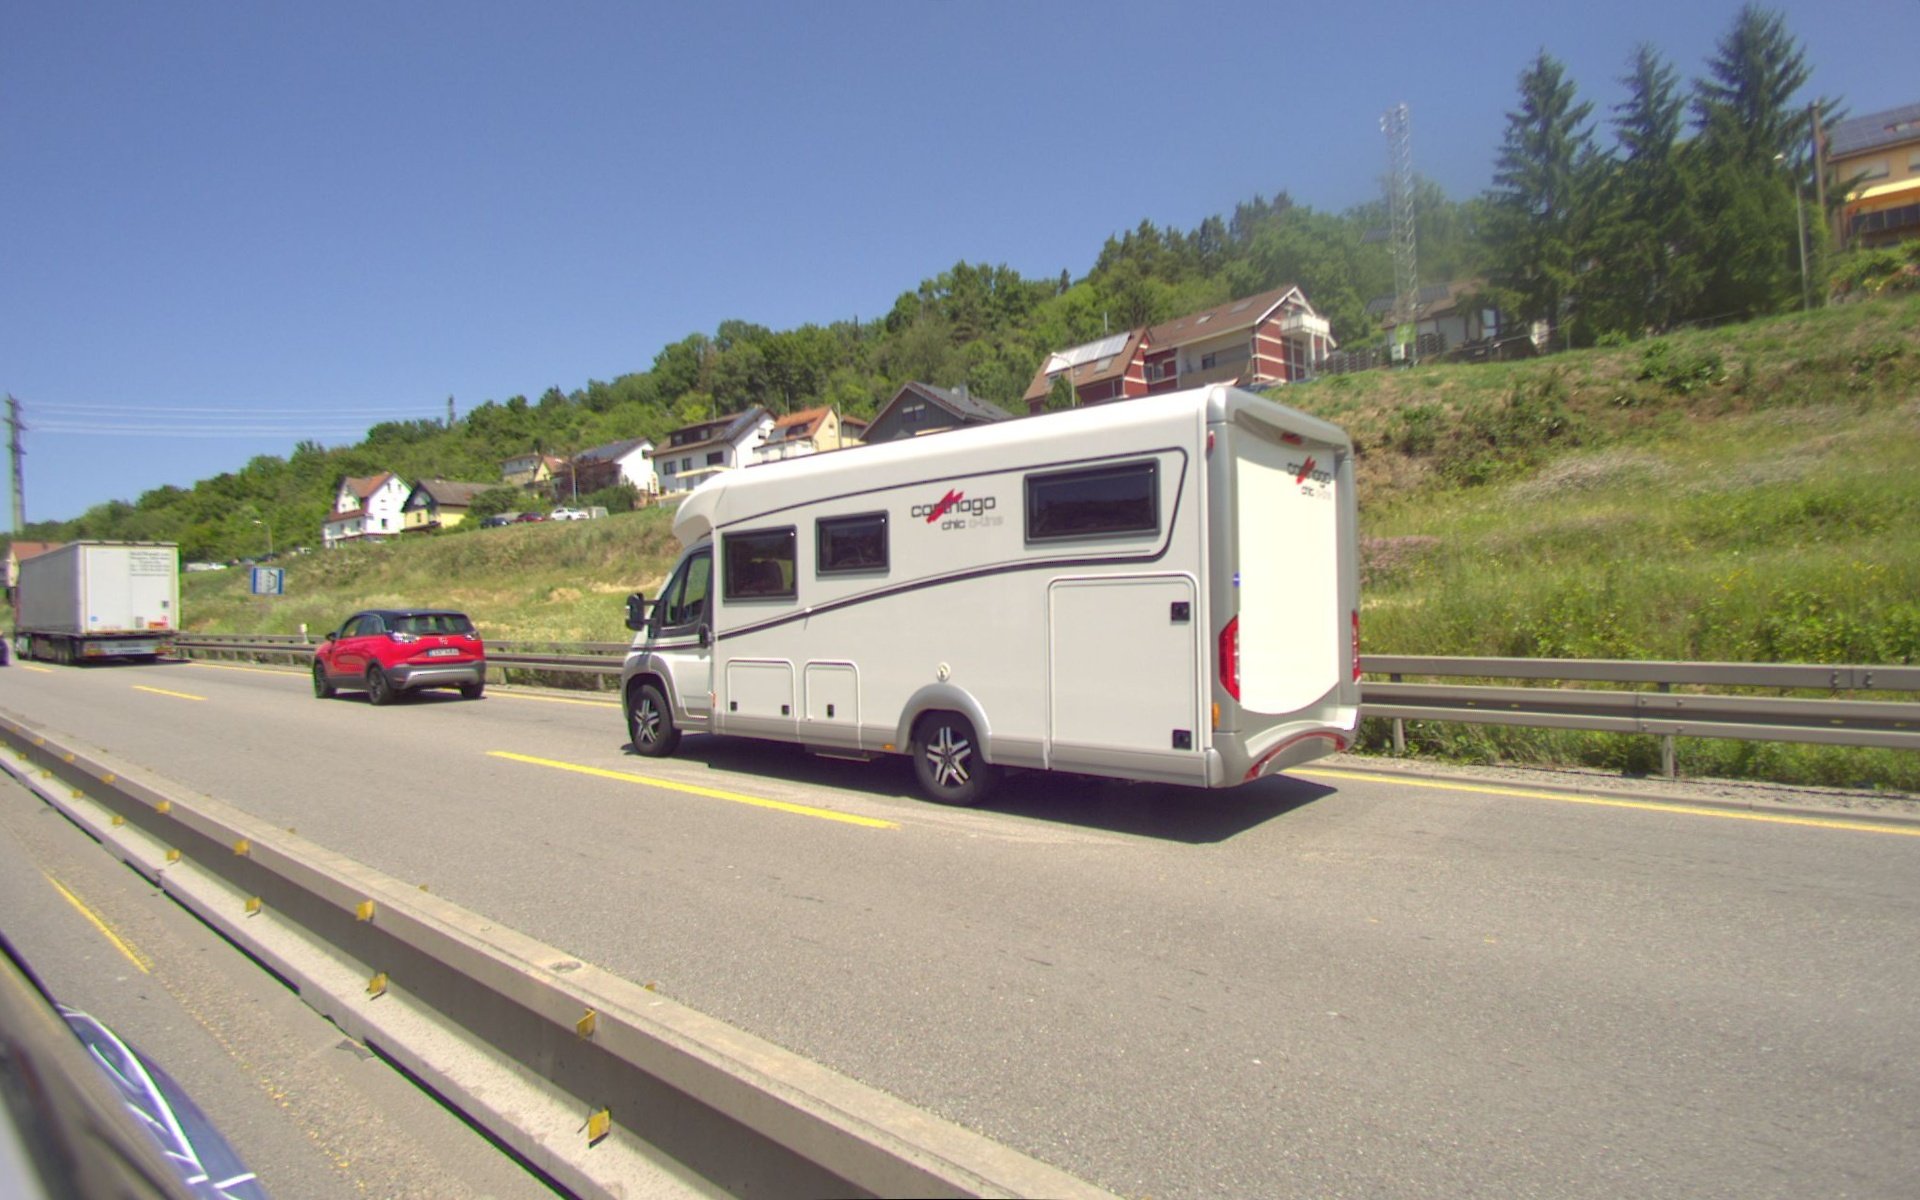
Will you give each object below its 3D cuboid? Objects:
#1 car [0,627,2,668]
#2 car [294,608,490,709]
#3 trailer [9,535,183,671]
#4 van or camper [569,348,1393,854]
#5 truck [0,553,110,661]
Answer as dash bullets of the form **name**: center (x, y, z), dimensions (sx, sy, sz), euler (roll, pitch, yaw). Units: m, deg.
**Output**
- **car**: center (-34.420, 1.654, 34.793), dimensions (4.409, 1.373, 1.749), euler (-1, -1, 41)
- **car**: center (-10.166, 0.967, 17.993), dimensions (4.262, 1.563, 1.699), euler (-1, -1, 41)
- **trailer**: center (-31.453, 0.210, 36.497), dimensions (13.429, 4.155, 2.827), euler (-2, -1, 41)
- **van or camper**: center (-0.462, 0.067, 8.934), dimensions (7.512, 2.798, 2.310), euler (-1, -1, 41)
- **truck**: center (-37.098, 0.317, 41.444), dimensions (4.596, 4.155, 2.792), euler (-2, -1, 41)
